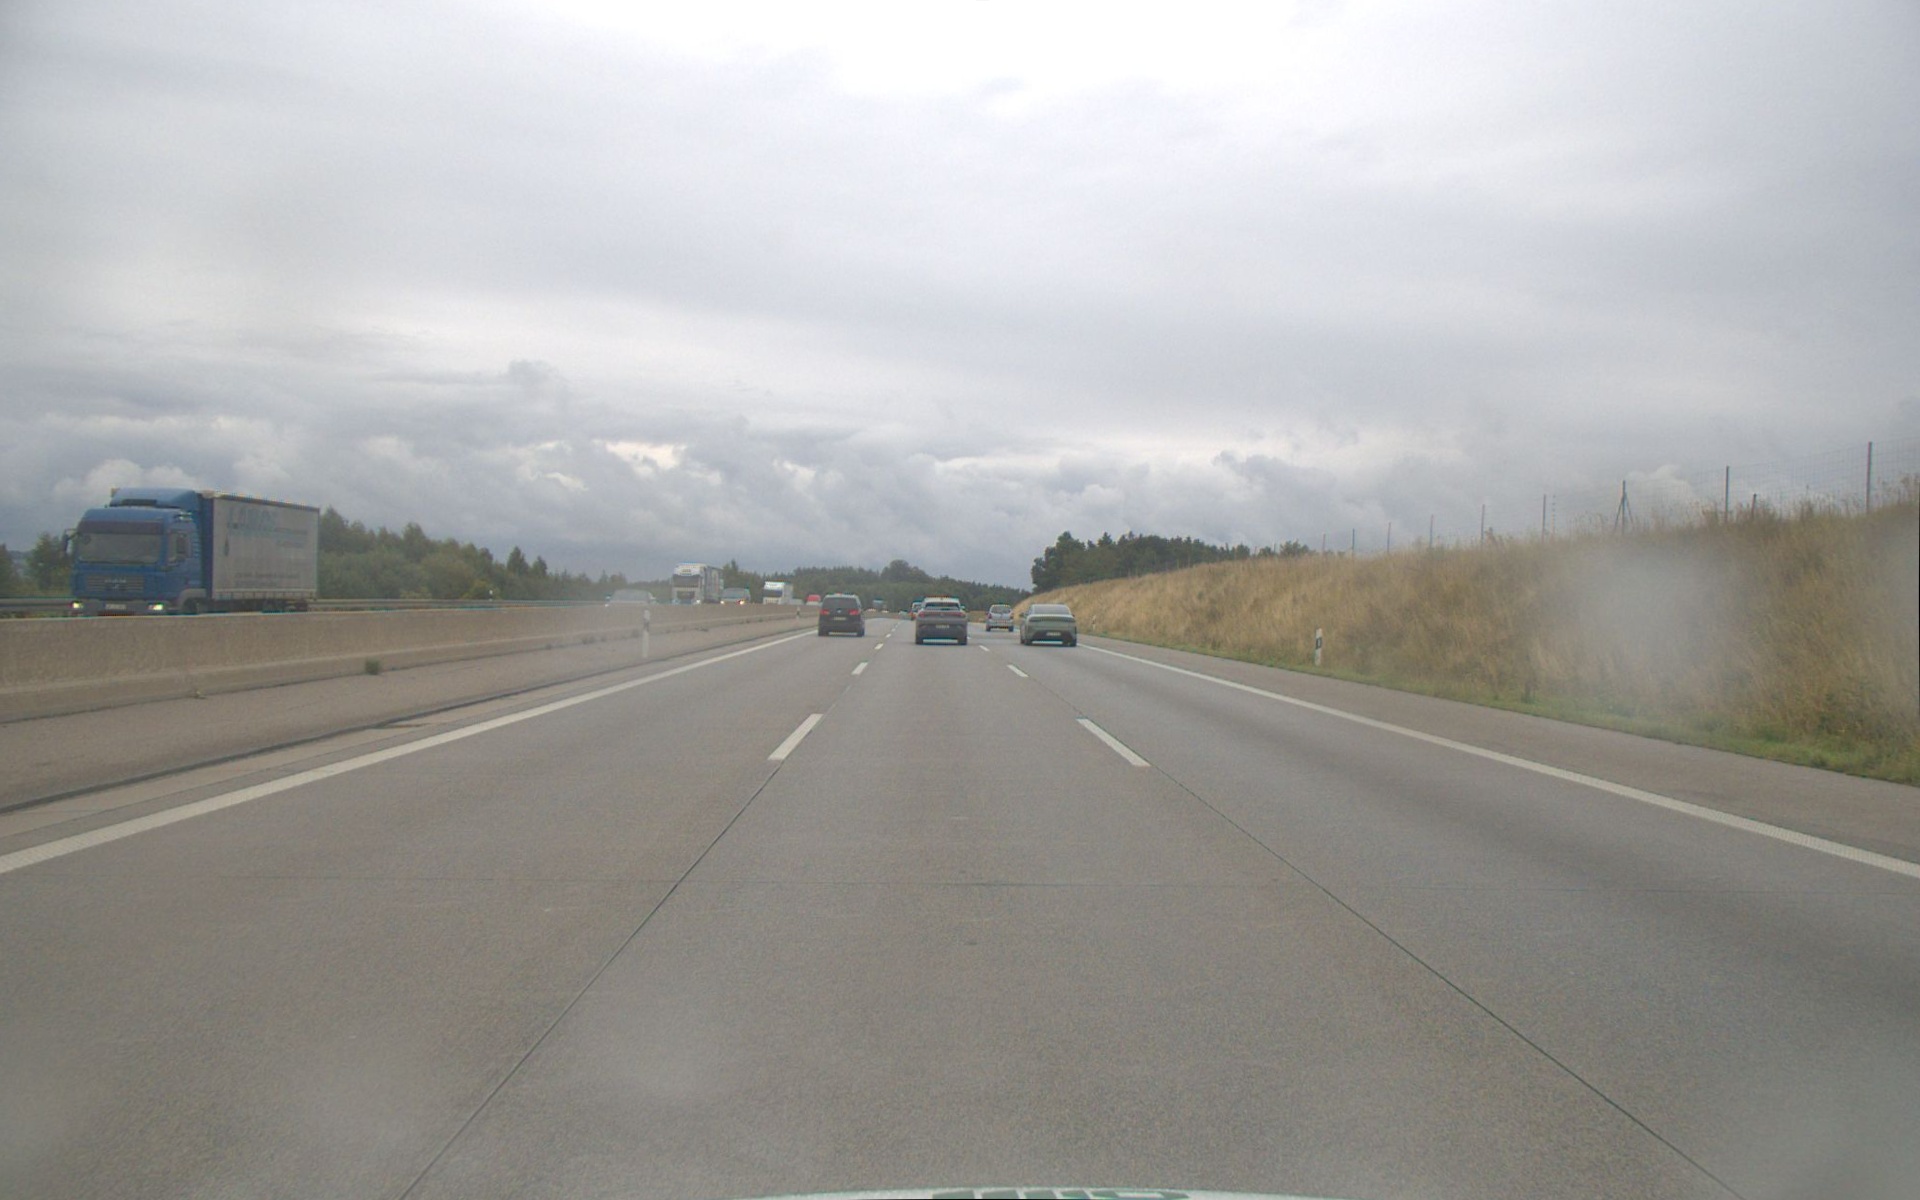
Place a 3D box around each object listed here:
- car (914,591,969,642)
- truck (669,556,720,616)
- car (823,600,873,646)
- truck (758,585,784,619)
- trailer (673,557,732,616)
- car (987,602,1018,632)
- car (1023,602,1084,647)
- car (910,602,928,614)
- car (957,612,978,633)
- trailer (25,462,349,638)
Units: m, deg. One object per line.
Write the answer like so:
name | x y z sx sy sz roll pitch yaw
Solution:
car | -0.620 0.546 59.229 1.859 1.719 5.266 1 0 0
truck | -22.520 -1.170 140.411 3.515 4.903 5.866 1 0 -2
car | -4.653 0.934 69.029 1.748 1.777 3.915 1 0 1
truck | -24.973 0.182 219.239 2.825 4.366 7.134 1 0 -2
trailer | -22.684 -1.203 146.497 3.526 4.883 12.903 1 0 -2
car | 2.343 0.919 92.383 1.456 1.496 3.503 4 0 -1
car | 3.324 0.860 59.849 1.973 1.471 4.745 1 0 1
car | -4.480 0.904 181.186 1.760 1.243 4.001 1 0 2
car | 0.586 1.758 130.350 1.456 1.496 3.503 4 0 -1
trailer | -19.685 -1.179 43.414 2.791 3.904 12.397 1 0 -1
